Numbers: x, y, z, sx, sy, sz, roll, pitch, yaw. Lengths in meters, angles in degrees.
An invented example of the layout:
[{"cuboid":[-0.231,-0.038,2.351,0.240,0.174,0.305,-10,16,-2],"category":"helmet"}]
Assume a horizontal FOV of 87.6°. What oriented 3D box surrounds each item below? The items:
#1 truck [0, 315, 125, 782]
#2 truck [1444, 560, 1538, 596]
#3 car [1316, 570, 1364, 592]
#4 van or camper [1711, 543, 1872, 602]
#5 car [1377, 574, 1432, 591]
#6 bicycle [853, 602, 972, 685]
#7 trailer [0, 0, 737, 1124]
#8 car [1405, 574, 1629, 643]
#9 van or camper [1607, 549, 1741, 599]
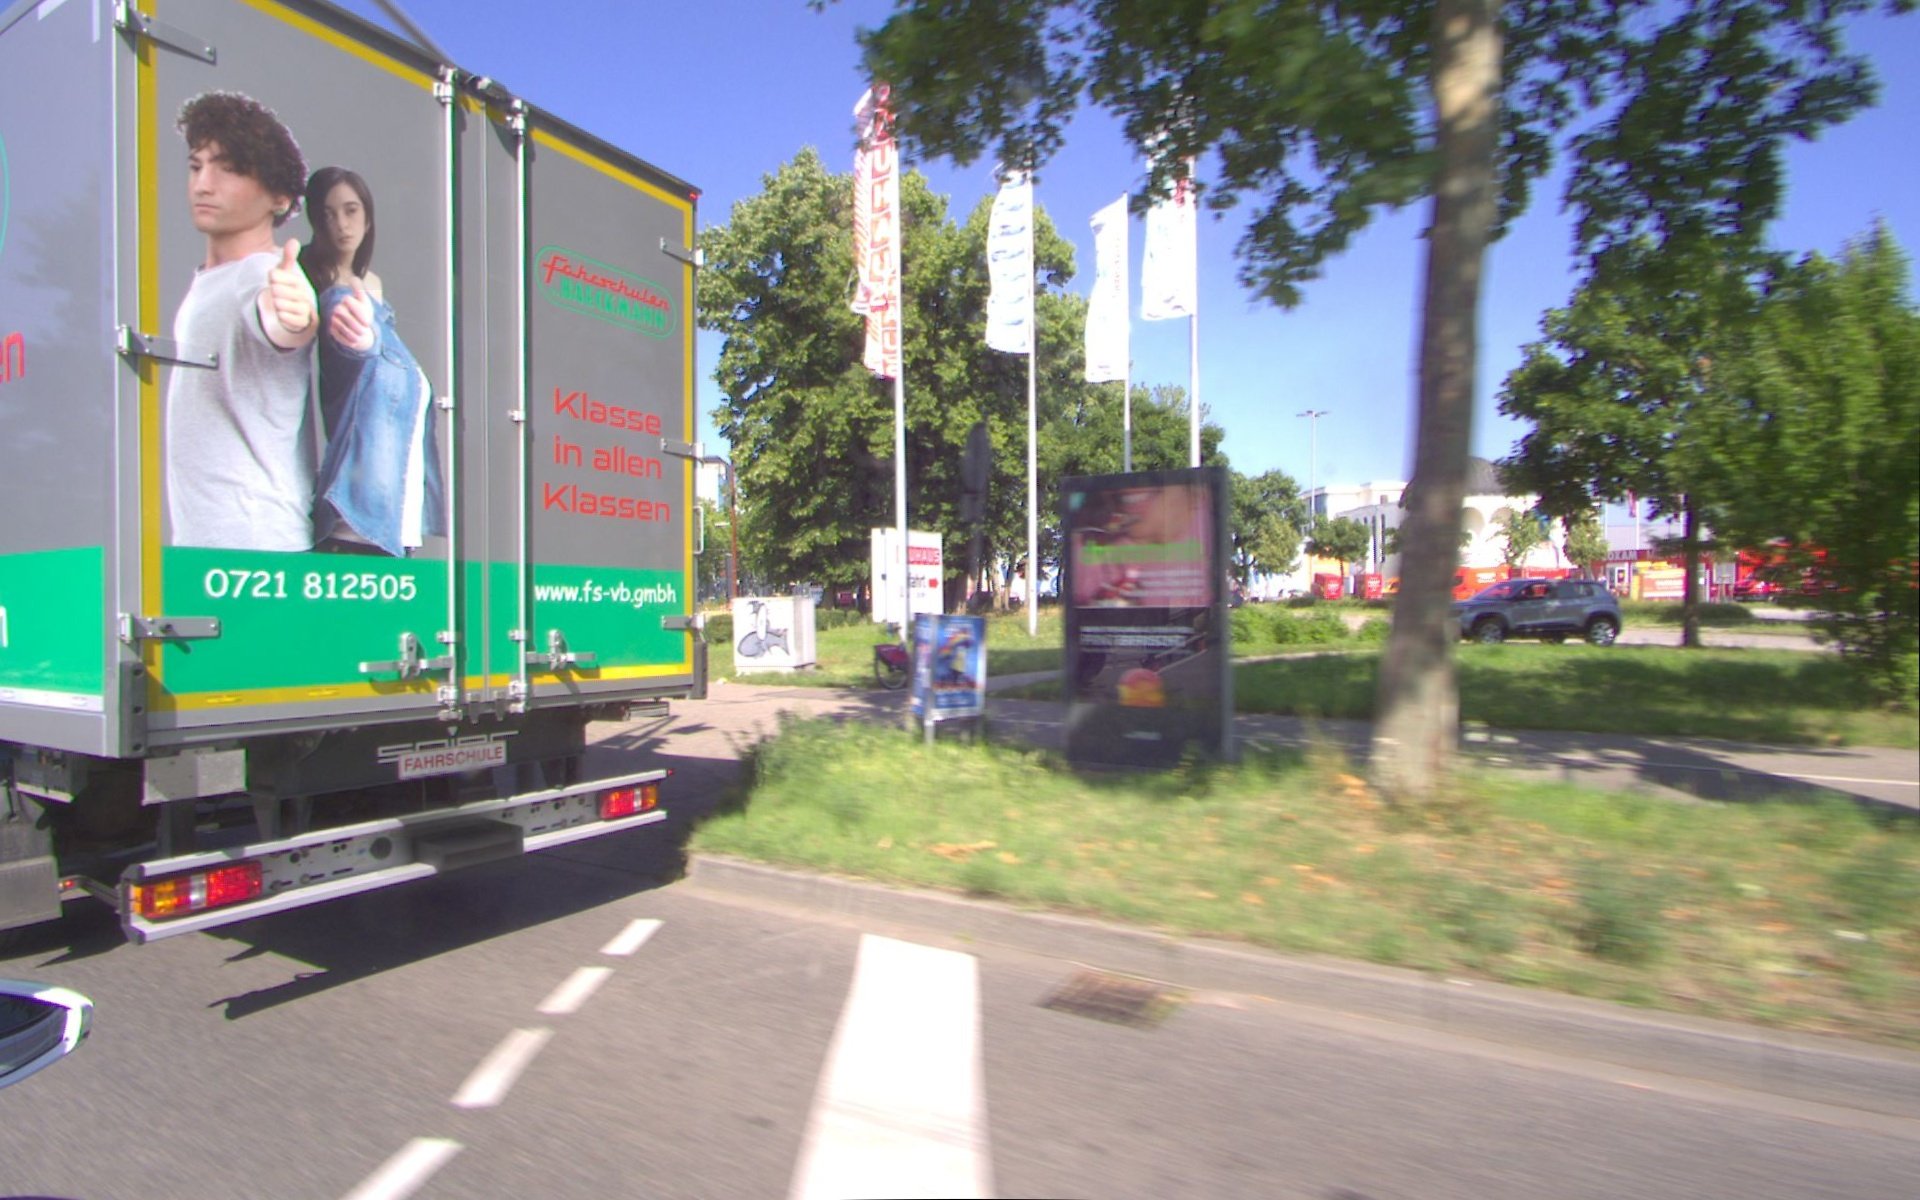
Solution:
[{"cuboid":[-12.008,-0.350,10.310,8.599,3.941,2.723,-1,0,33],"category":"truck"},{"cuboid":[37.598,-1.576,71.020,5.669,2.443,2.000,0,-1,-4],"category":"truck"},{"cuboid":[37.485,-1.877,98.734,3.925,2.039,1.999,0,-1,-11],"category":"car"},{"cuboid":[43.944,-1.447,53.002,7.146,2.980,2.000,0,-1,-4],"category":"van or camper"},{"cuboid":[47.942,-1.861,108.113,5.045,1.777,2.001,0,-1,3],"category":"car"},{"cuboid":[-0.708,0.638,15.408,1.887,1.154,0.492,-2,1,-40],"category":"bicycle"},{"cuboid":[-5.112,-0.443,5.955,7.624,3.928,2.731,-1,0,32],"category":"trailer"},{"cuboid":[12.251,0.199,22.209,3.922,1.438,1.907,0,-1,-2],"category":"car"},{"cuboid":[44.539,-1.603,62.525,7.146,2.980,2.000,0,-1,-4],"category":"van or camper"}]
